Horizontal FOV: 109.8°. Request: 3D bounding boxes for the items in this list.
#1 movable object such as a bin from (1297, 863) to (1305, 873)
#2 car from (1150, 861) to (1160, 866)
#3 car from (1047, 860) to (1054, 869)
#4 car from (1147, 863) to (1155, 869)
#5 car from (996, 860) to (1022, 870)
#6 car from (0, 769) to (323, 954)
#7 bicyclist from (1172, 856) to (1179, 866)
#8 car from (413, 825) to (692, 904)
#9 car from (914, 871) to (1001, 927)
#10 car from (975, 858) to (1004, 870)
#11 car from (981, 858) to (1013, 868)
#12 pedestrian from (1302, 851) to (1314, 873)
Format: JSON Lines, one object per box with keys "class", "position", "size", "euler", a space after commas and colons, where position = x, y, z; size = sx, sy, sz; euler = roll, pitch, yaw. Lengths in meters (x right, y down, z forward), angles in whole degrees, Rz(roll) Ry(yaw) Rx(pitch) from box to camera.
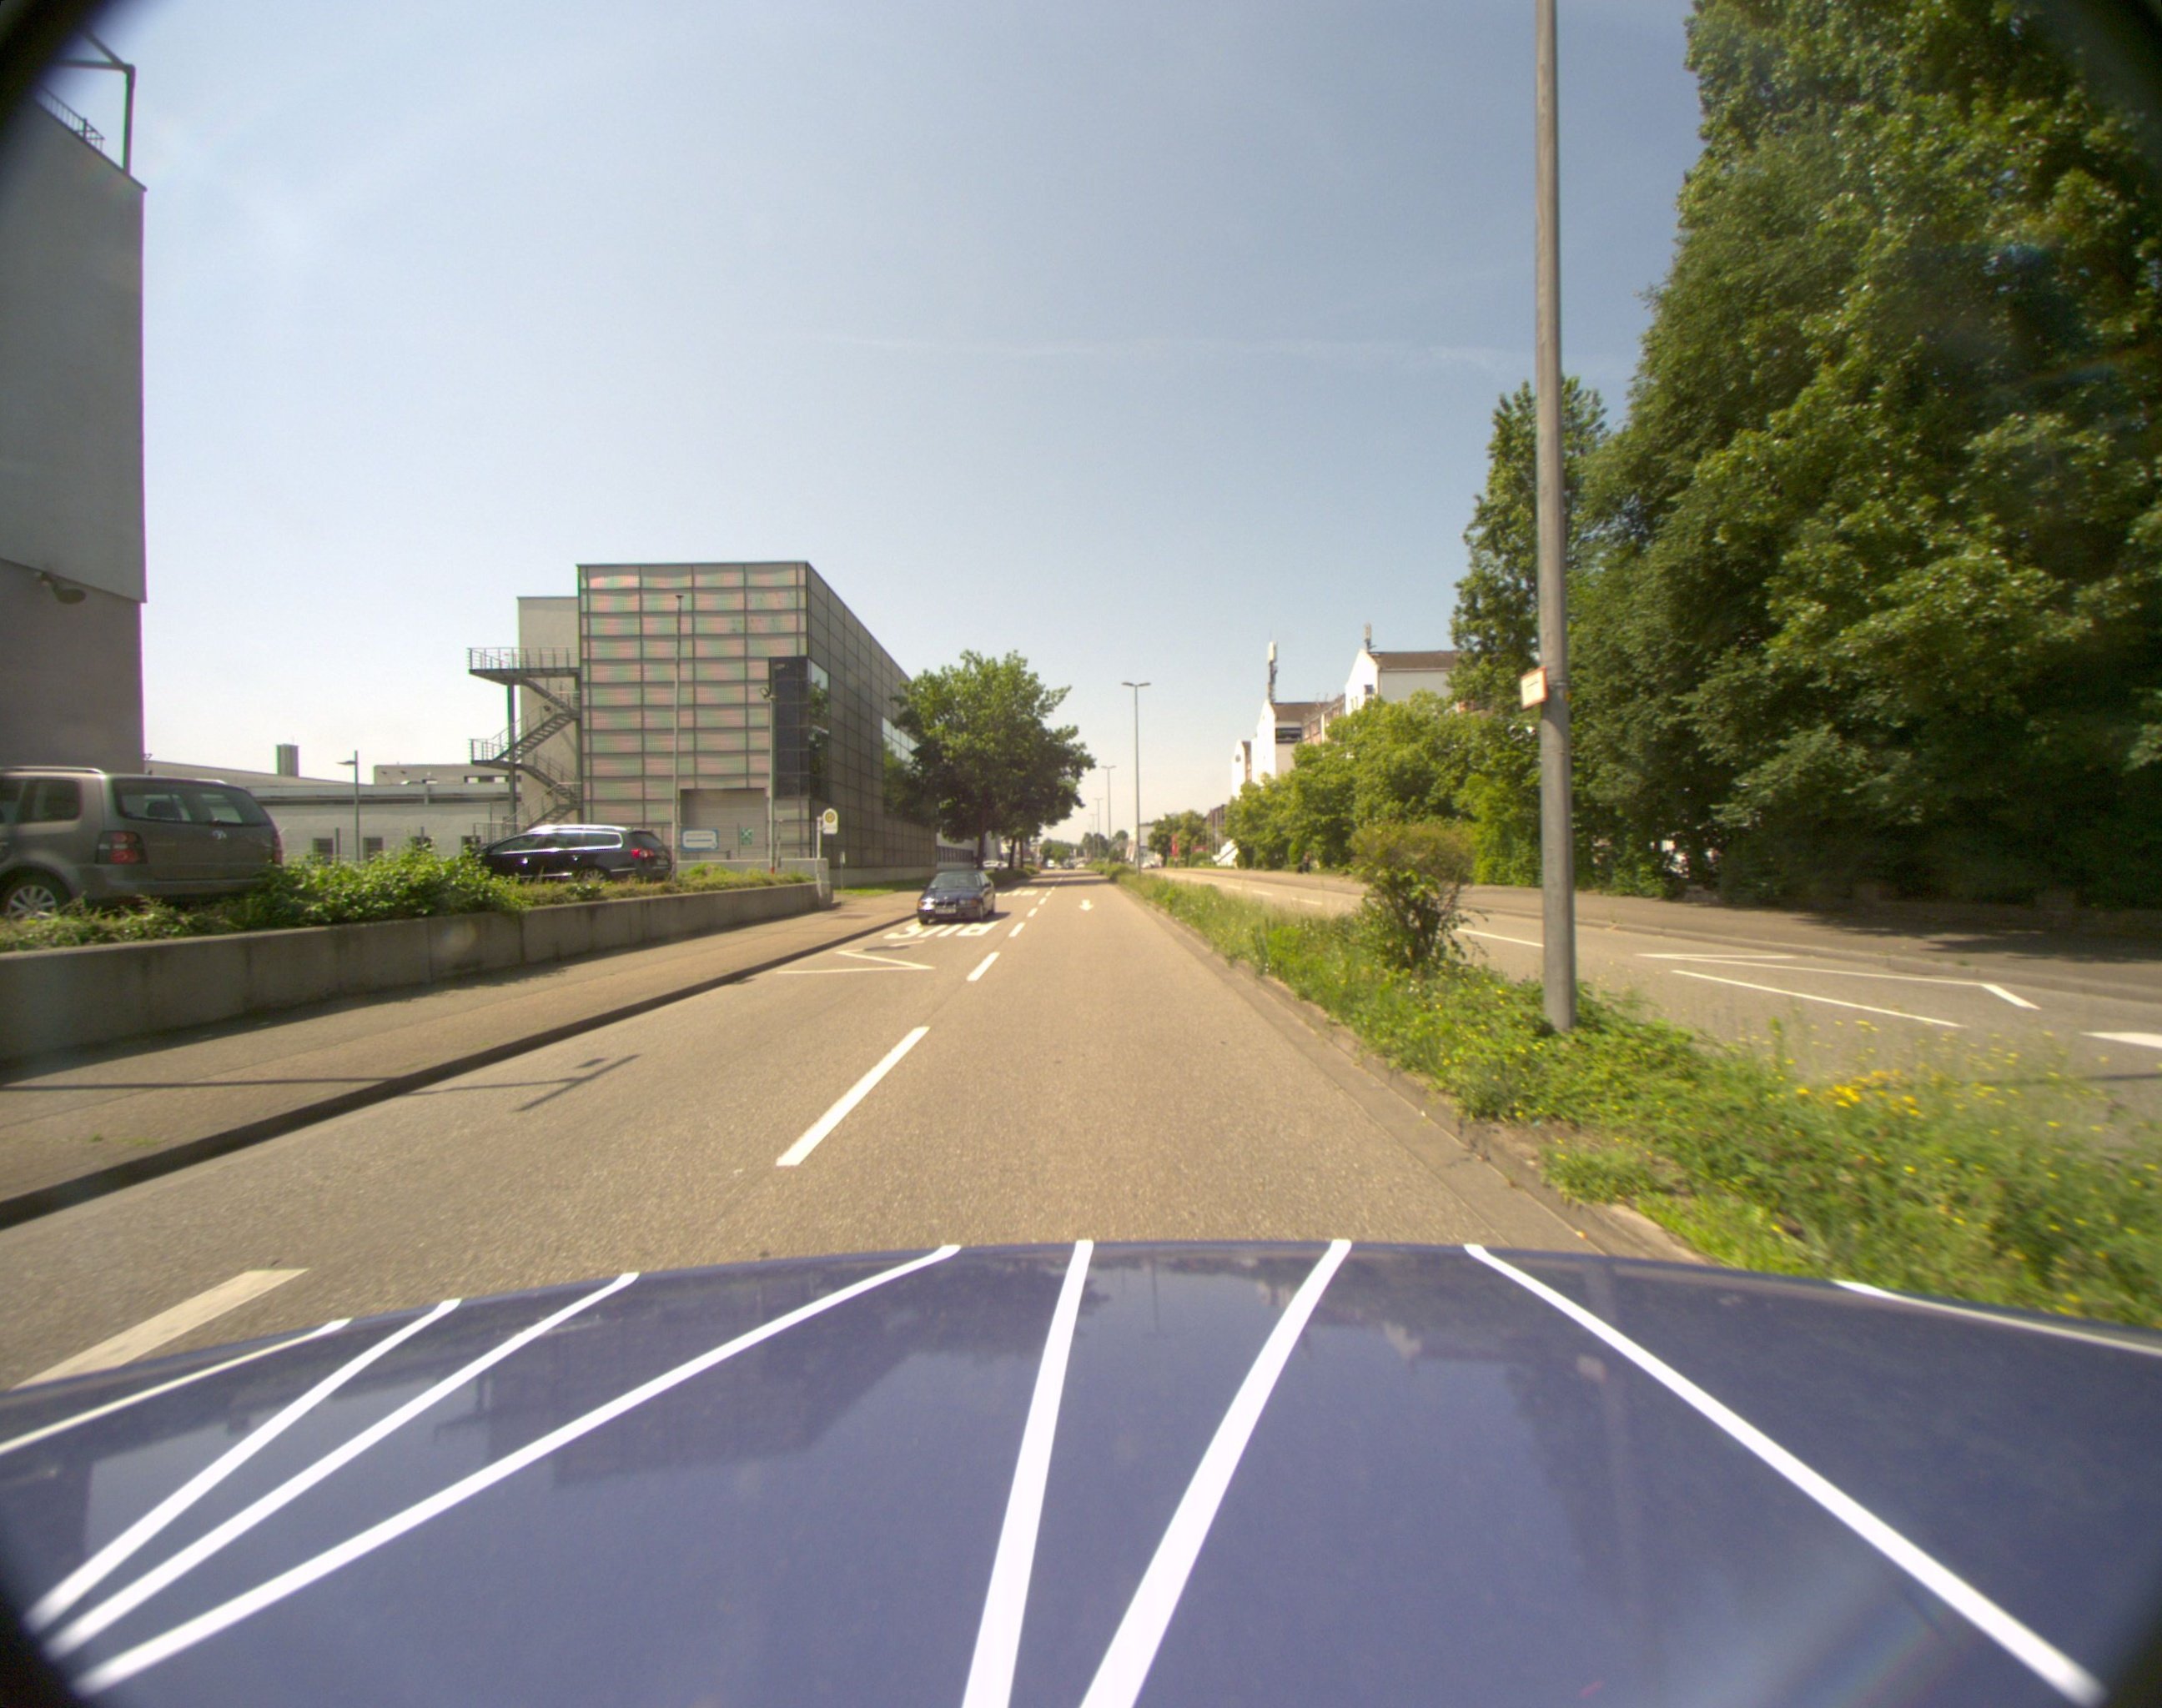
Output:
{"class": "movable object such as a bin", "position": [15.499, 0.983, 53.498], "size": [0.429, 0.701, 0.652], "euler": [0, 0, 8]}
{"class": "car", "position": [17.237, 2.228, 177.438], "size": [1.737, 1.343, 3.999], "euler": [-1, -1, -3]}
{"class": "car", "position": [-10.385, 3.507, 256.038], "size": [2.183, 2.757, 7.278], "euler": [1, -1, -1]}
{"class": "car", "position": [16.414, 2.735, 178.580], "size": [1.780, 1.402, 4.761], "euler": [-1, -1, 4]}
{"class": "car", "position": [-12.314, 1.893, 130.341], "size": [4.271, 1.679, 1.999], "euler": [0, 0, -4]}
{"class": "car", "position": [-10.830, 0.073, 7.694], "size": [4.238, 1.637, 2.000], "euler": [0, 0, -1]}
{"class": "bicyclist", "position": [14.211, 1.001, 114.219], "size": [0.719, 1.507, 1.026], "euler": [0, 0, -4]}
{"class": "car", "position": [-11.156, 0.209, 16.351], "size": [4.512, 1.573, 1.999], "euler": [0, 0, -4]}
{"class": "car", "position": [-3.307, 1.181, 21.022], "size": [1.632, 1.331, 3.758], "euler": [-2, -1, 2]}
{"class": "car", "position": [-12.719, 1.407, 105.548], "size": [3.823, 1.582, 1.732], "euler": [2, 0, -4]}
{"class": "car", "position": [-12.537, 1.313, 113.649], "size": [4.627, 1.382, 1.999], "euler": [-1, 0, -6]}
{"class": "pedestrian", "position": [15.893, 0.561, 53.151], "size": [0.634, 1.536, 0.727], "euler": [0, 0, -1]}
